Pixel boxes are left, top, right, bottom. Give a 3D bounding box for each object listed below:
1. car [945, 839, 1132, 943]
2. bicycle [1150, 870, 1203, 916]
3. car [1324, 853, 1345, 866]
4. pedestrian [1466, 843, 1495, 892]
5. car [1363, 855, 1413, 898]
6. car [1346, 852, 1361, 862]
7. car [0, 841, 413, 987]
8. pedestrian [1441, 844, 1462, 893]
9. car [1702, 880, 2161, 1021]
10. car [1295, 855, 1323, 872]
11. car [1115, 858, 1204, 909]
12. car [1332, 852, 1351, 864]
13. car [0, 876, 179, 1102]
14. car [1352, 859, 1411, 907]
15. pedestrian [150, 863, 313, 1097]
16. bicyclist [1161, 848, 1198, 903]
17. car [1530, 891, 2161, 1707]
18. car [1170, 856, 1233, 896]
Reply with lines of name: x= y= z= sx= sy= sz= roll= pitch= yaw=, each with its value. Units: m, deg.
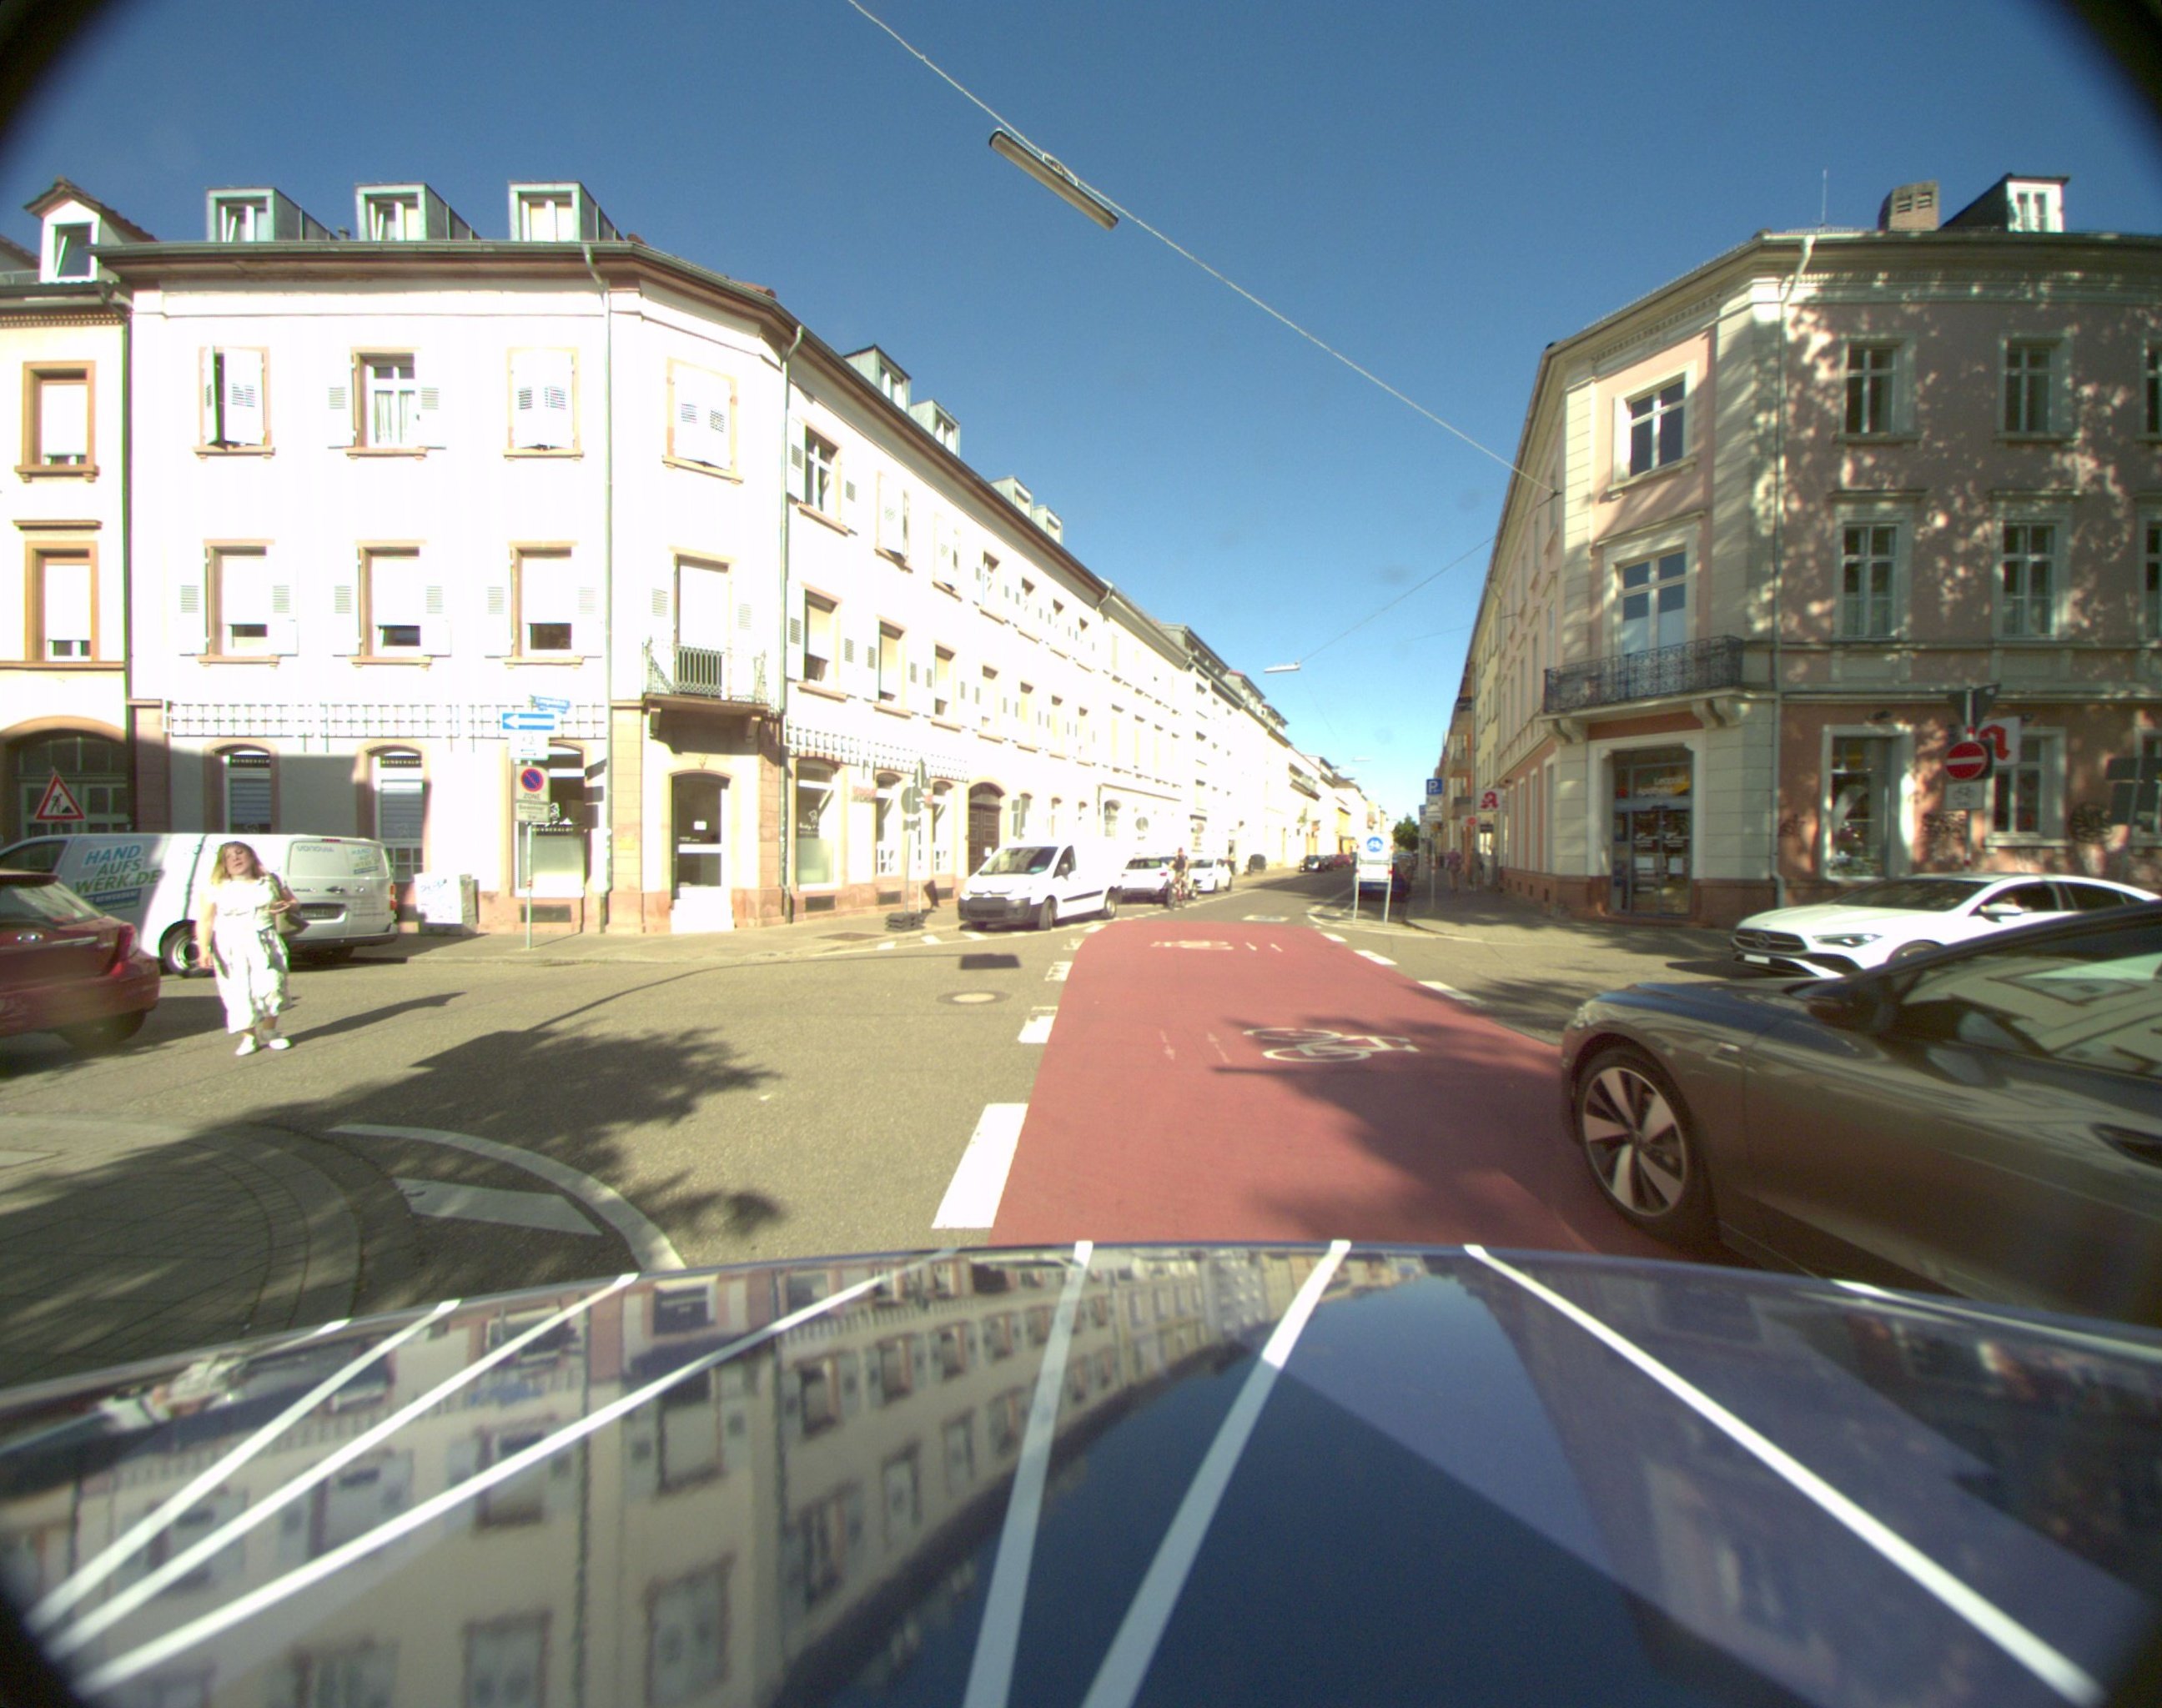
car: x=-0.717 y=0.675 z=16.819 sx=2.046 sy=1.934 sz=5.034 roll=0 pitch=0 yaw=24
bicycle: x=2.759 y=1.091 z=21.798 sx=0.671 sy=1.192 sz=1.929 roll=1 pitch=1 yaw=35
car: x=26.388 y=0.592 z=79.149 sx=1.703 sy=1.292 sz=3.645 roll=0 pitch=0 yaw=24
pedestrian: x=15.145 y=0.501 z=28.795 sx=0.828 sy=1.755 sz=0.753 roll=2 pitch=5 yaw=38
car: x=12.645 y=0.868 z=31.162 sx=1.702 sy=1.529 sz=3.644 roll=3 pitch=3 yaw=24
car: x=36.660 y=0.355 z=102.154 sx=1.703 sy=1.292 sz=3.645 roll=1 pitch=1 yaw=24
car: x=-12.662 y=0.791 z=10.559 sx=5.010 sy=1.847 sz=1.901 roll=0 pitch=-2 yaw=-1
pedestrian: x=14.261 y=0.565 z=29.267 sx=0.569 sy=1.846 sz=0.708 roll=-2 pitch=0 yaw=35
car: x=10.426 y=1.061 z=9.032 sx=4.559 sy=1.448 sz=1.863 roll=0 pitch=0 yaw=0
car: x=18.756 y=0.785 z=62.395 sx=1.703 sy=1.292 sz=3.645 roll=1 pitch=1 yaw=24
car: x=2.714 y=0.921 z=25.441 sx=1.642 sy=1.532 sz=4.390 roll=-1 pitch=0 yaw=24
car: x=29.719 y=0.481 z=86.660 sx=1.703 sy=1.292 sz=3.645 roll=1 pitch=1 yaw=24
car: x=-9.322 y=0.950 z=5.377 sx=3.803 sy=1.492 sz=1.690 roll=0 pitch=2 yaw=0
car: x=10.800 y=0.972 z=27.185 sx=1.702 sy=1.426 sz=3.644 roll=3 pitch=3 yaw=24
pedestrian: x=-6.446 y=0.884 z=5.818 sx=0.737 sy=1.605 sz=0.814 roll=-1 pitch=2 yaw=-43
bicyclist: x=2.854 y=0.594 z=21.914 sx=0.637 sy=1.538 sz=1.027 roll=1 pitch=1 yaw=35
car: x=2.917 y=0.932 z=1.138 sx=1.913 sy=1.445 sz=4.578 roll=1 pitch=1 yaw=3
car: x=4.995 y=0.861 z=31.141 sx=1.628 sy=1.532 sz=3.645 roll=-1 pitch=0 yaw=24
